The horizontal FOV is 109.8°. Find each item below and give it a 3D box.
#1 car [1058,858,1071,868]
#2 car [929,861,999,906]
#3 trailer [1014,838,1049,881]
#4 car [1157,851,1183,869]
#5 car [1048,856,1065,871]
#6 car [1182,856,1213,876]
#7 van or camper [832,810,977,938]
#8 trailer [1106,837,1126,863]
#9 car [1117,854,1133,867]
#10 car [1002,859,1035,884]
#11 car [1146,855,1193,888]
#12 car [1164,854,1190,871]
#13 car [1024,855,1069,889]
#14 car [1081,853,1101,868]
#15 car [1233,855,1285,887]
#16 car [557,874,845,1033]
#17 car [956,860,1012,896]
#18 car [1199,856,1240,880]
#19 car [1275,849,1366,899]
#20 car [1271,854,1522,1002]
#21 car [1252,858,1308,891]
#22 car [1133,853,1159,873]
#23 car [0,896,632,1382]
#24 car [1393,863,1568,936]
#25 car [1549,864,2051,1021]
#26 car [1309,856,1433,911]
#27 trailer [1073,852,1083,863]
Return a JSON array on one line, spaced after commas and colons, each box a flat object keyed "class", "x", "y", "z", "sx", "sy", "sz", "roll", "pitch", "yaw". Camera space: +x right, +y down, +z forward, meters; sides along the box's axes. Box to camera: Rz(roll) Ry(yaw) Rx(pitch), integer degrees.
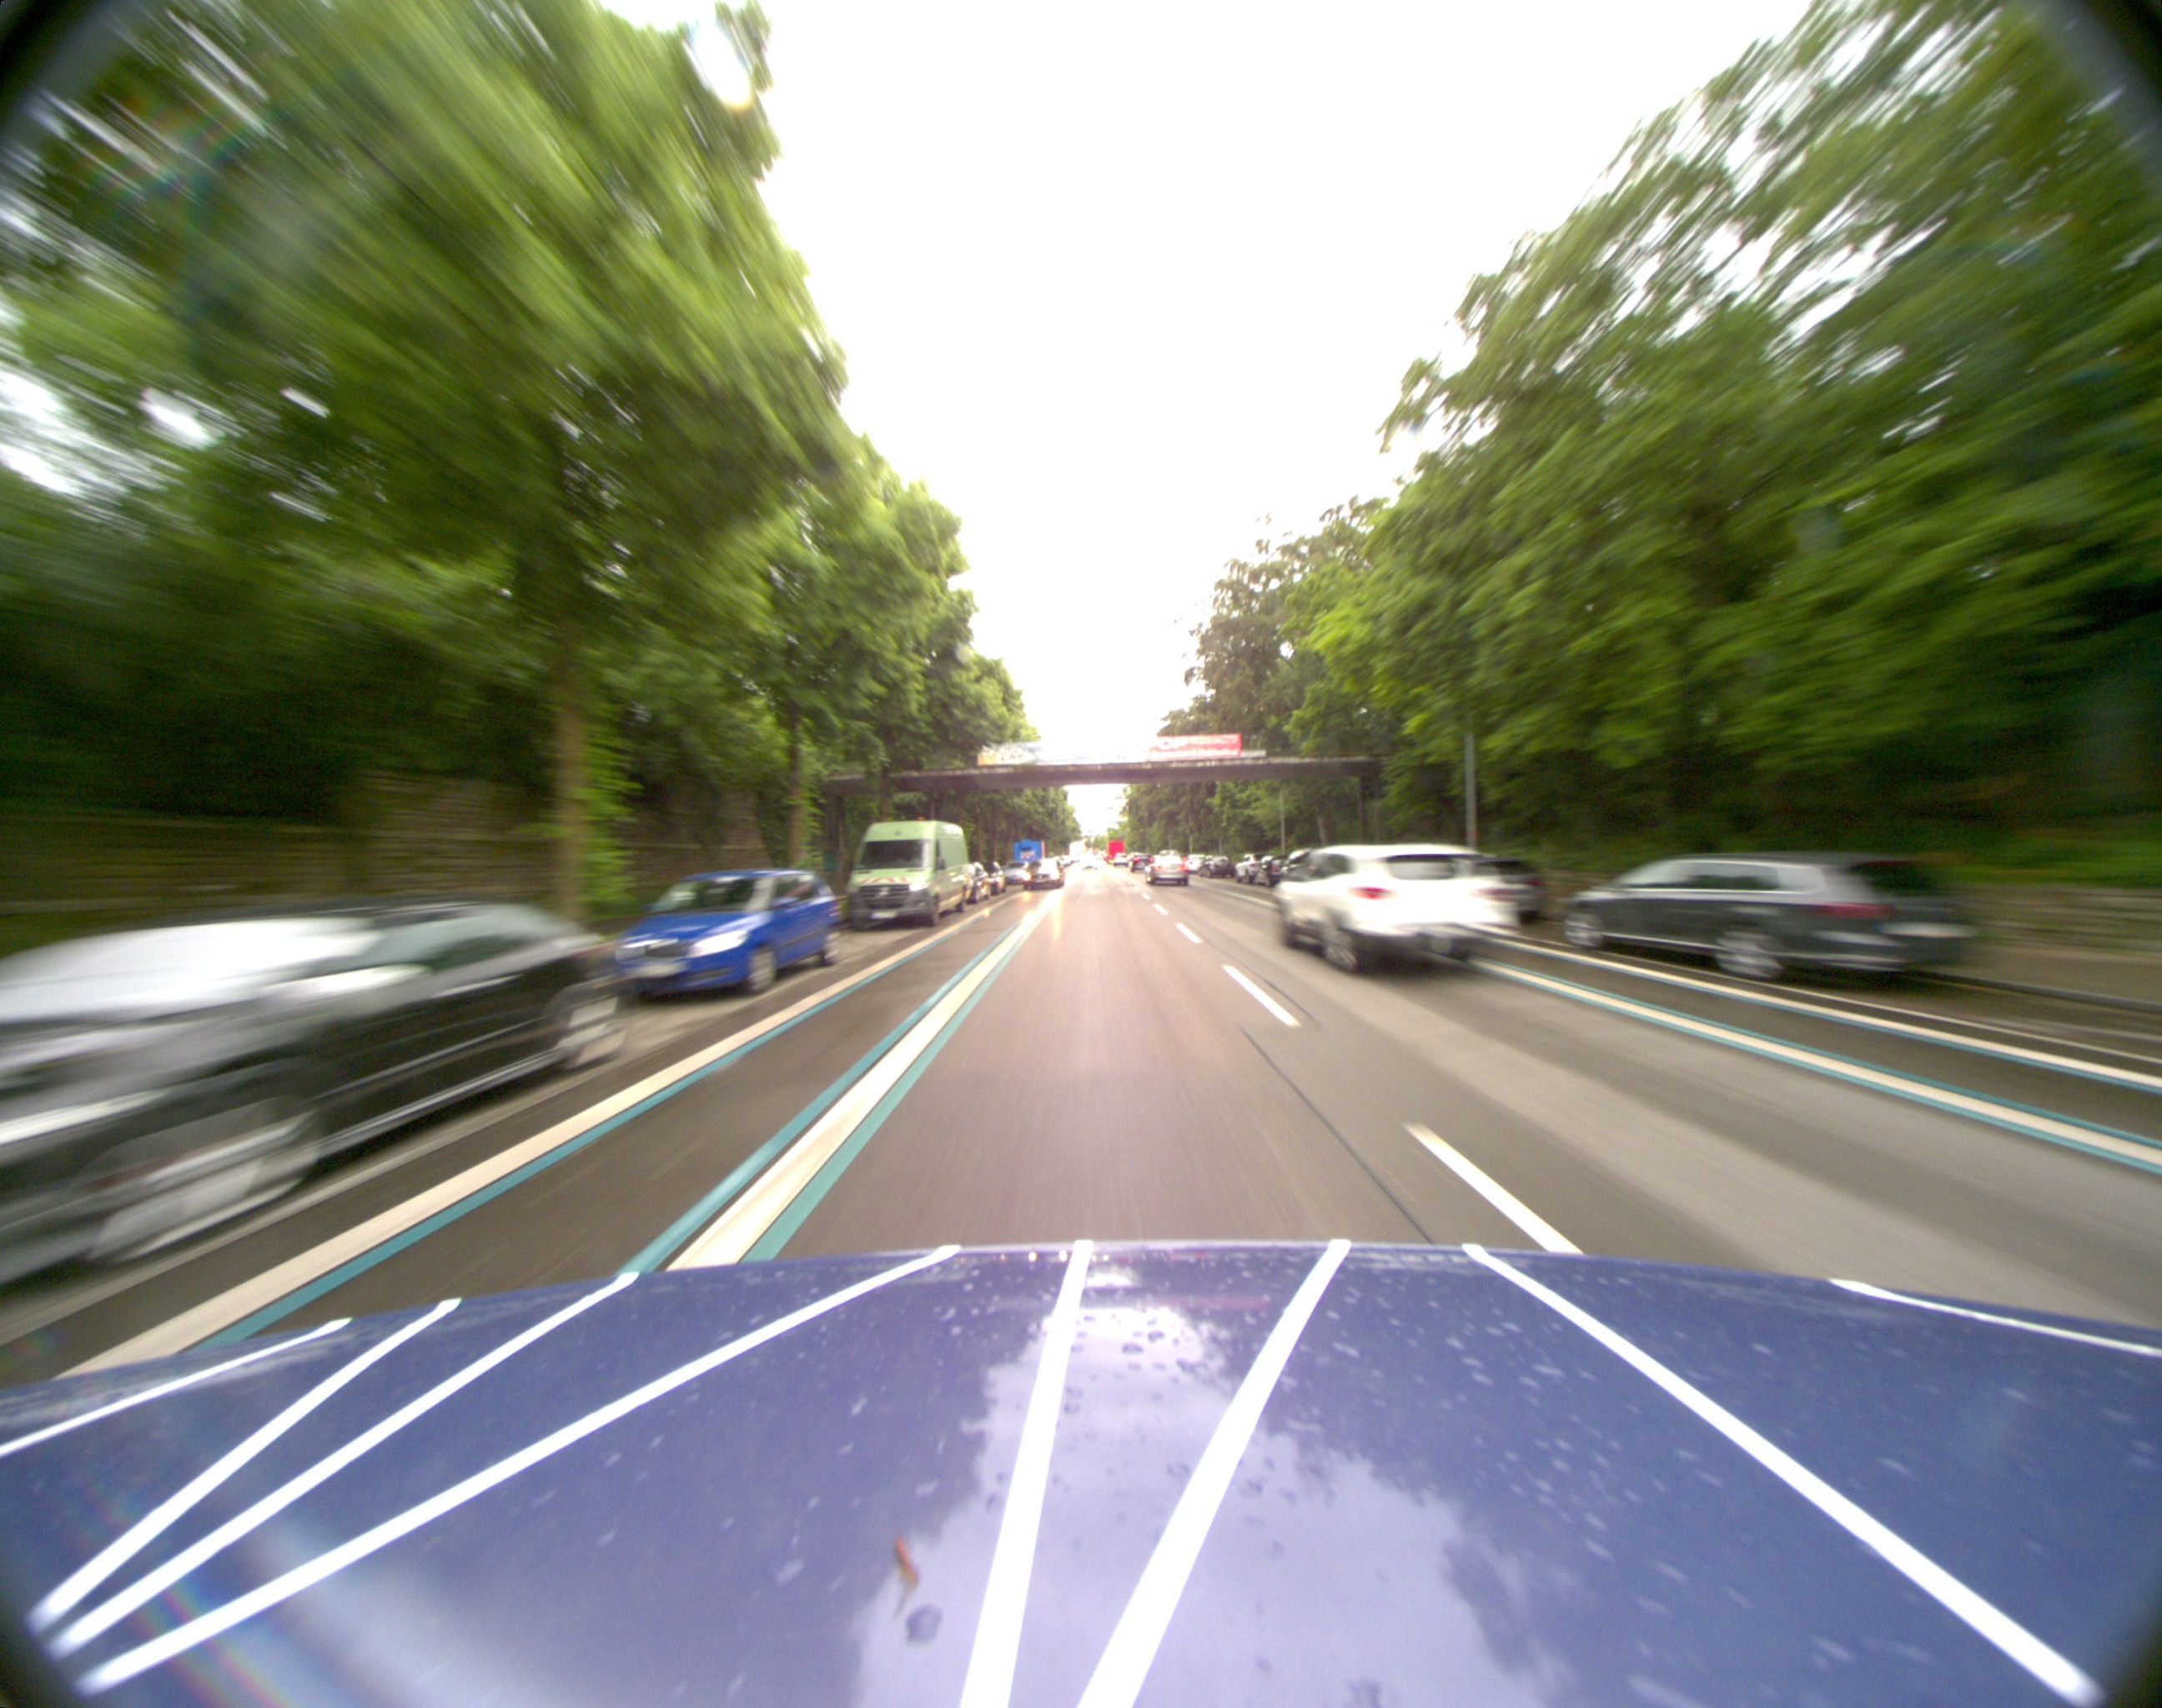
[{"class": "car", "x": -2.300, "y": 1.267, "z": 108.705, "sx": 1.702, "sy": 1.445, "sz": 4.097, "roll": -3, "pitch": 0, "yaw": 0}, {"class": "car", "x": -4.147, "y": 0.996, "z": 27.479, "sx": 1.690, "sy": 1.408, "sz": 4.100, "roll": -2, "pitch": 0, "yaw": 2}, {"class": "trailer", "x": -3.280, "y": 0.331, "z": 51.470, "sx": 1.957, "sy": 2.742, "sz": 4.007, "roll": -2, "pitch": 0, "yaw": 1}, {"class": "car", "x": 10.053, "y": 0.693, "z": 86.076, "sx": 1.979, "sy": 1.993, "sz": 5.017, "roll": -2, "pitch": 0, "yaw": -3}, {"class": "car", "x": -2.847, "y": 1.095, "z": 89.470, "sx": 1.757, "sy": 1.587, "sz": 4.740, "roll": -2, "pitch": 0, "yaw": 1}, {"class": "car", "x": 9.220, "y": 0.955, "z": 60.306, "sx": 1.794, "sy": 1.473, "sz": 3.982, "roll": -1, "pitch": 0, "yaw": -1}, {"class": "van or camper", "x": -4.352, "y": 0.444, "z": 20.129, "sx": 2.047, "sy": 2.713, "sz": 6.900, "roll": -3, "pitch": 0, "yaw": 0}, {"class": "trailer", "x": 5.870, "y": -0.643, "z": 129.793, "sx": 2.694, "sy": 4.234, "sz": 12.768, "roll": 1, "pitch": 0, "yaw": 0}, {"class": "car", "x": 5.571, "y": 0.827, "z": 96.274, "sx": 1.838, "sy": 1.656, "sz": 4.180, "roll": 1, "pitch": 0, "yaw": 1}, {"class": "car", "x": -3.629, "y": 1.000, "z": 44.612, "sx": 1.588, "sy": 1.345, "sz": 3.862, "roll": -3, "pitch": 0, "yaw": -1}, {"class": "car", "x": 4.328, "y": 0.820, "z": 37.805, "sx": 1.926, "sy": 1.551, "sz": 4.621, "roll": 0, "pitch": 0, "yaw": 1}, {"class": "car", "x": 9.717, "y": 0.860, "z": 77.062, "sx": 2.015, "sy": 1.596, "sz": 4.780, "roll": -1, "pitch": 0, "yaw": 0}, {"class": "car", "x": -1.643, "y": 0.838, "z": 37.120, "sx": 1.822, "sy": 1.499, "sz": 4.139, "roll": -1, "pitch": 0, "yaw": 2}, {"class": "car", "x": 1.092, "y": 0.699, "z": 81.733, "sx": 1.998, "sy": 1.588, "sz": 4.000, "roll": -2, "pitch": 0, "yaw": 1}, {"class": "car", "x": 9.148, "y": 0.845, "z": 39.263, "sx": 1.692, "sy": 1.537, "sz": 4.233, "roll": -1, "pitch": 0, "yaw": 0}, {"class": "car", "x": -4.592, "y": 1.094, "z": 9.911, "sx": 1.690, "sy": 1.505, "sz": 3.835, "roll": -3, "pitch": 0, "yaw": 1}, {"class": "car", "x": -4.117, "y": 0.988, "z": 32.842, "sx": 1.690, "sy": 1.408, "sz": 4.197, "roll": -2, "pitch": 0, "yaw": 2}, {"class": "car", "x": 9.004, "y": 0.889, "z": 49.776, "sx": 1.836, "sy": 1.468, "sz": 4.040, "roll": -1, "pitch": 0, "yaw": -2}, {"class": "car", "x": 9.125, "y": 0.732, "z": 29.423, "sx": 1.995, "sy": 1.731, "sz": 4.838, "roll": -1, "pitch": 0, "yaw": 0}, {"class": "car", "x": 4.016, "y": 0.825, "z": 10.503, "sx": 1.800, "sy": 1.642, "sz": 4.129, "roll": 0, "pitch": 0, "yaw": 1}, {"class": "car", "x": 9.053, "y": 0.908, "z": 34.791, "sx": 1.613, "sy": 1.430, "sz": 3.844, "roll": -1, "pitch": 0, "yaw": 1}, {"class": "car", "x": 5.495, "y": 0.761, "z": 64.201, "sx": 1.970, "sy": 1.618, "sz": 4.321, "roll": -1, "pitch": 0, "yaw": 2}, {"class": "car", "x": -4.568, "y": 1.103, "z": 4.244, "sx": 1.690, "sy": 1.447, "sz": 4.145, "roll": -3, "pitch": 0, "yaw": -2}, {"class": "car", "x": 8.851, "y": 0.931, "z": 17.302, "sx": 1.788, "sy": 1.415, "sz": 4.296, "roll": -1, "pitch": 0, "yaw": 1}, {"class": "car", "x": 8.519, "y": 0.898, "z": 9.827, "sx": 1.961, "sy": 1.454, "sz": 4.756, "roll": -1, "pitch": 0, "yaw": -1}, {"class": "car", "x": 8.835, "y": 0.846, "z": 23.679, "sx": 1.988, "sy": 1.464, "sz": 4.898, "roll": -2, "pitch": 0, "yaw": 0}, {"class": "trailer", "x": -0.655, "y": 0.807, "z": 174.268, "sx": 1.988, "sy": 2.550, "sz": 3.999, "roll": -2, "pitch": 0, "yaw": -2}]
